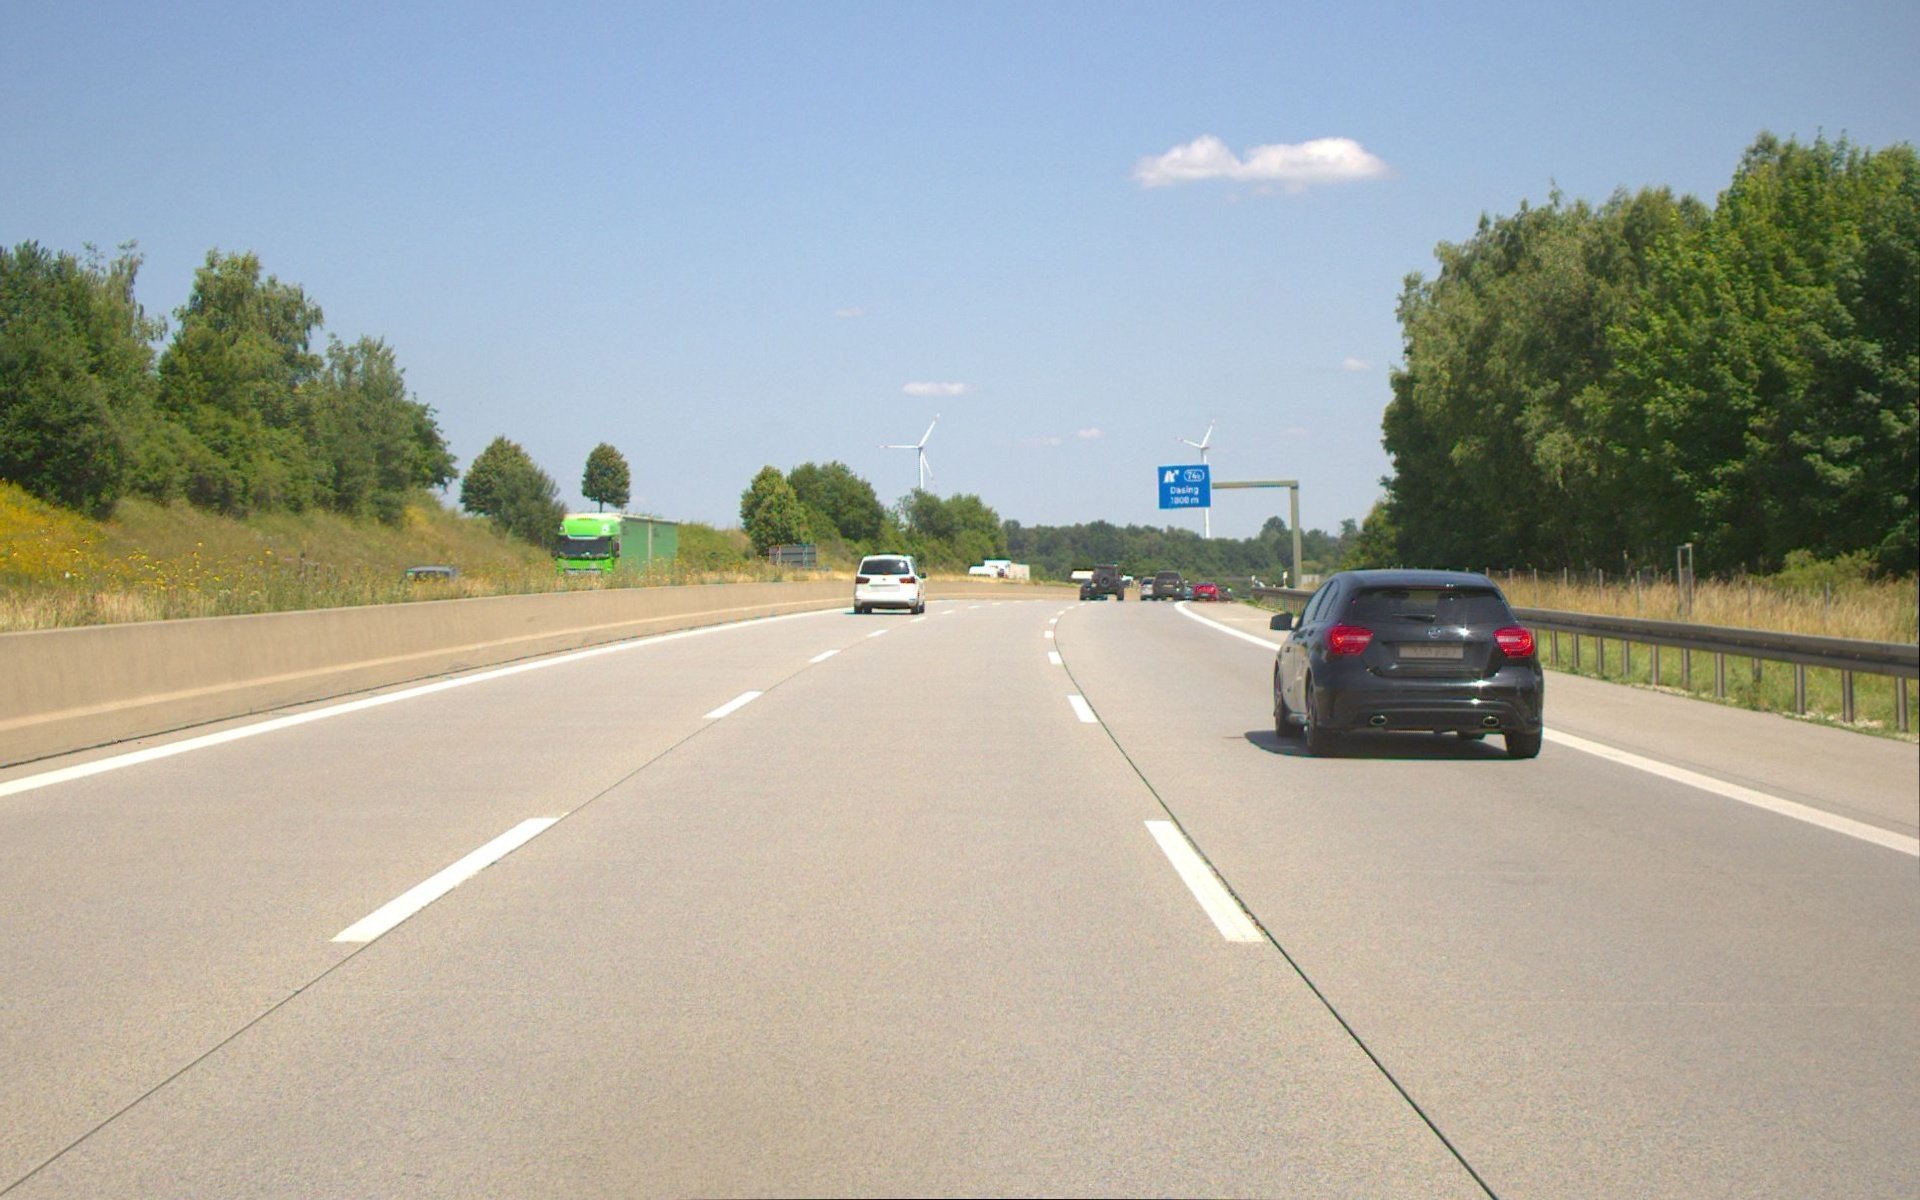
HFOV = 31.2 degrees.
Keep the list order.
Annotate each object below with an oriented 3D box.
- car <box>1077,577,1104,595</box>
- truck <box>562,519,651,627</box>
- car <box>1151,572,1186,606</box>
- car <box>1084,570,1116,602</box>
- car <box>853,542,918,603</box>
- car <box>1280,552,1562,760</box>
[{"bbox_3d":[9.619,-1.062,253.989,1.655,1.192,3.960,3,1,-2],"label":"car"},{"bbox_3d":[-15.639,-1.197,152.559,3.090,4.646,6.265,0,0,2],"label":"truck"},{"bbox_3d":[11.676,-0.629,192.840,1.827,1.900,4.000,0,1,2],"label":"car"},{"bbox_3d":[8.400,-0.845,206.108,1.827,1.931,3.809,0,1,3],"label":"car"},{"bbox_3d":[-2.158,-0.796,100.229,1.845,1.702,6.036,0,0,-1],"label":"car"},{"bbox_3d":[3.604,0.385,27.549,1.910,1.487,4.191,1,1,3],"label":"car"}]
